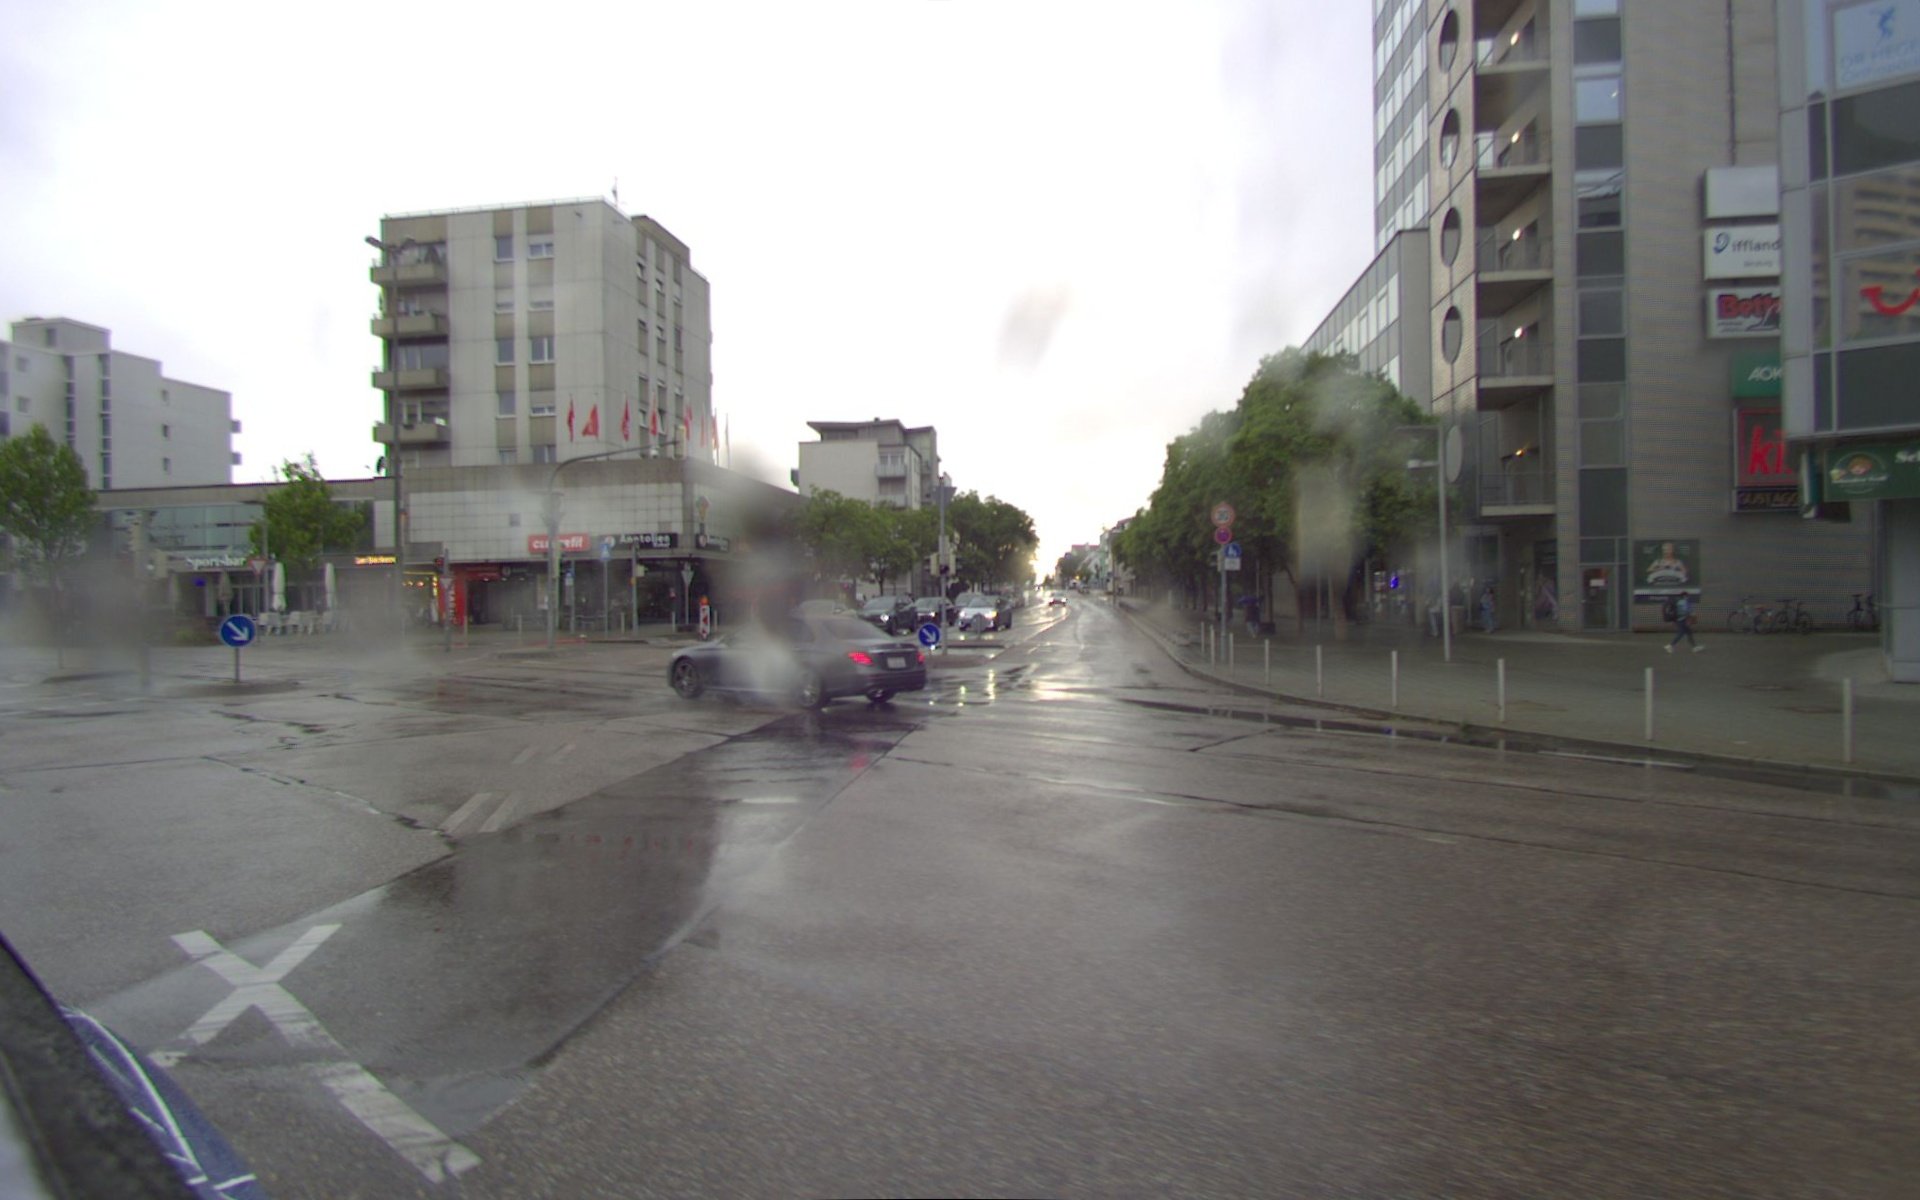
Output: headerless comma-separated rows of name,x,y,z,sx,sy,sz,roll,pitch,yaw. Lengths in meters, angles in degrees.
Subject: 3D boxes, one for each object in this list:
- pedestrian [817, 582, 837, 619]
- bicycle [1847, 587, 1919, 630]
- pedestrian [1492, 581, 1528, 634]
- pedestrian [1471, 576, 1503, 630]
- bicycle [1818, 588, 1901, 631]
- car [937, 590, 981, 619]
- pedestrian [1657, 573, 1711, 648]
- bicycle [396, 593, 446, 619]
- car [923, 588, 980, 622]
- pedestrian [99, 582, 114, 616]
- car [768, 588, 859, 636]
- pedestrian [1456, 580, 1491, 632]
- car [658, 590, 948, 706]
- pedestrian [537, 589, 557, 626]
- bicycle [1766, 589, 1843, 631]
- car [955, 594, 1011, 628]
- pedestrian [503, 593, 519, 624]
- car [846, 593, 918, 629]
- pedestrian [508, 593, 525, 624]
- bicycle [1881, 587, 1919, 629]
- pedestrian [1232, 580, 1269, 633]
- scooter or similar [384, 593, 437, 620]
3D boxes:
pedestrian,-7.049,0.021,53.561,0.804,1.908,0.713,-1,0,27
bicycle,28.098,0.252,30.629,0.668,1.256,2.276,0,0,7
pedestrian,19.737,0.258,36.337,0.819,1.882,0.756,0,0,-19
pedestrian,18.782,0.103,36.090,0.745,1.882,0.831,-1,0,8
bicycle,27.303,0.275,30.767,0.668,1.256,2.276,0,0,7
car,-0.021,0.239,59.136,1.699,1.607,3.983,-1,1,14
pedestrian,18.184,0.259,25.424,1.024,1.833,0.837,-1,-1,40
bicycle,-26.397,0.288,49.603,0.689,1.232,2.544,-1,1,12
car,-0.375,0.225,50.546,1.852,1.607,3.981,-1,1,15
pedestrian,-47.820,-0.064,56.732,0.497,1.862,0.424,-1,0,20
car,-5.237,0.381,36.750,1.852,1.607,4.188,0,1,13
pedestrian,18.971,0.241,37.418,0.820,1.882,0.755,2,-2,-10
car,-2.686,0.672,16.614,4.896,1.644,1.902,0,0,38
pedestrian,-19.728,0.361,48.357,0.703,1.706,0.659,-3,0,-15
bicycle,25.846,0.293,31.024,0.668,1.256,2.276,0,0,7
car,1.094,0.462,46.509,1.756,1.431,4.041,-1,1,14
pedestrian,-20.144,0.391,45.407,0.537,1.358,0.490,1,1,43
car,-3.241,0.444,43.103,1.853,1.431,4.039,0,1,15
pedestrian,-19.685,0.373,44.944,0.537,1.358,0.490,-1,0,45
bicycle,29.090,0.232,30.567,0.668,1.256,2.276,0,0,7
pedestrian,11.281,0.246,39.308,1.152,2.029,1.326,-1,0,7
scooter or similar,-25.651,0.296,47.288,0.636,1.183,2.584,-1,0,11
